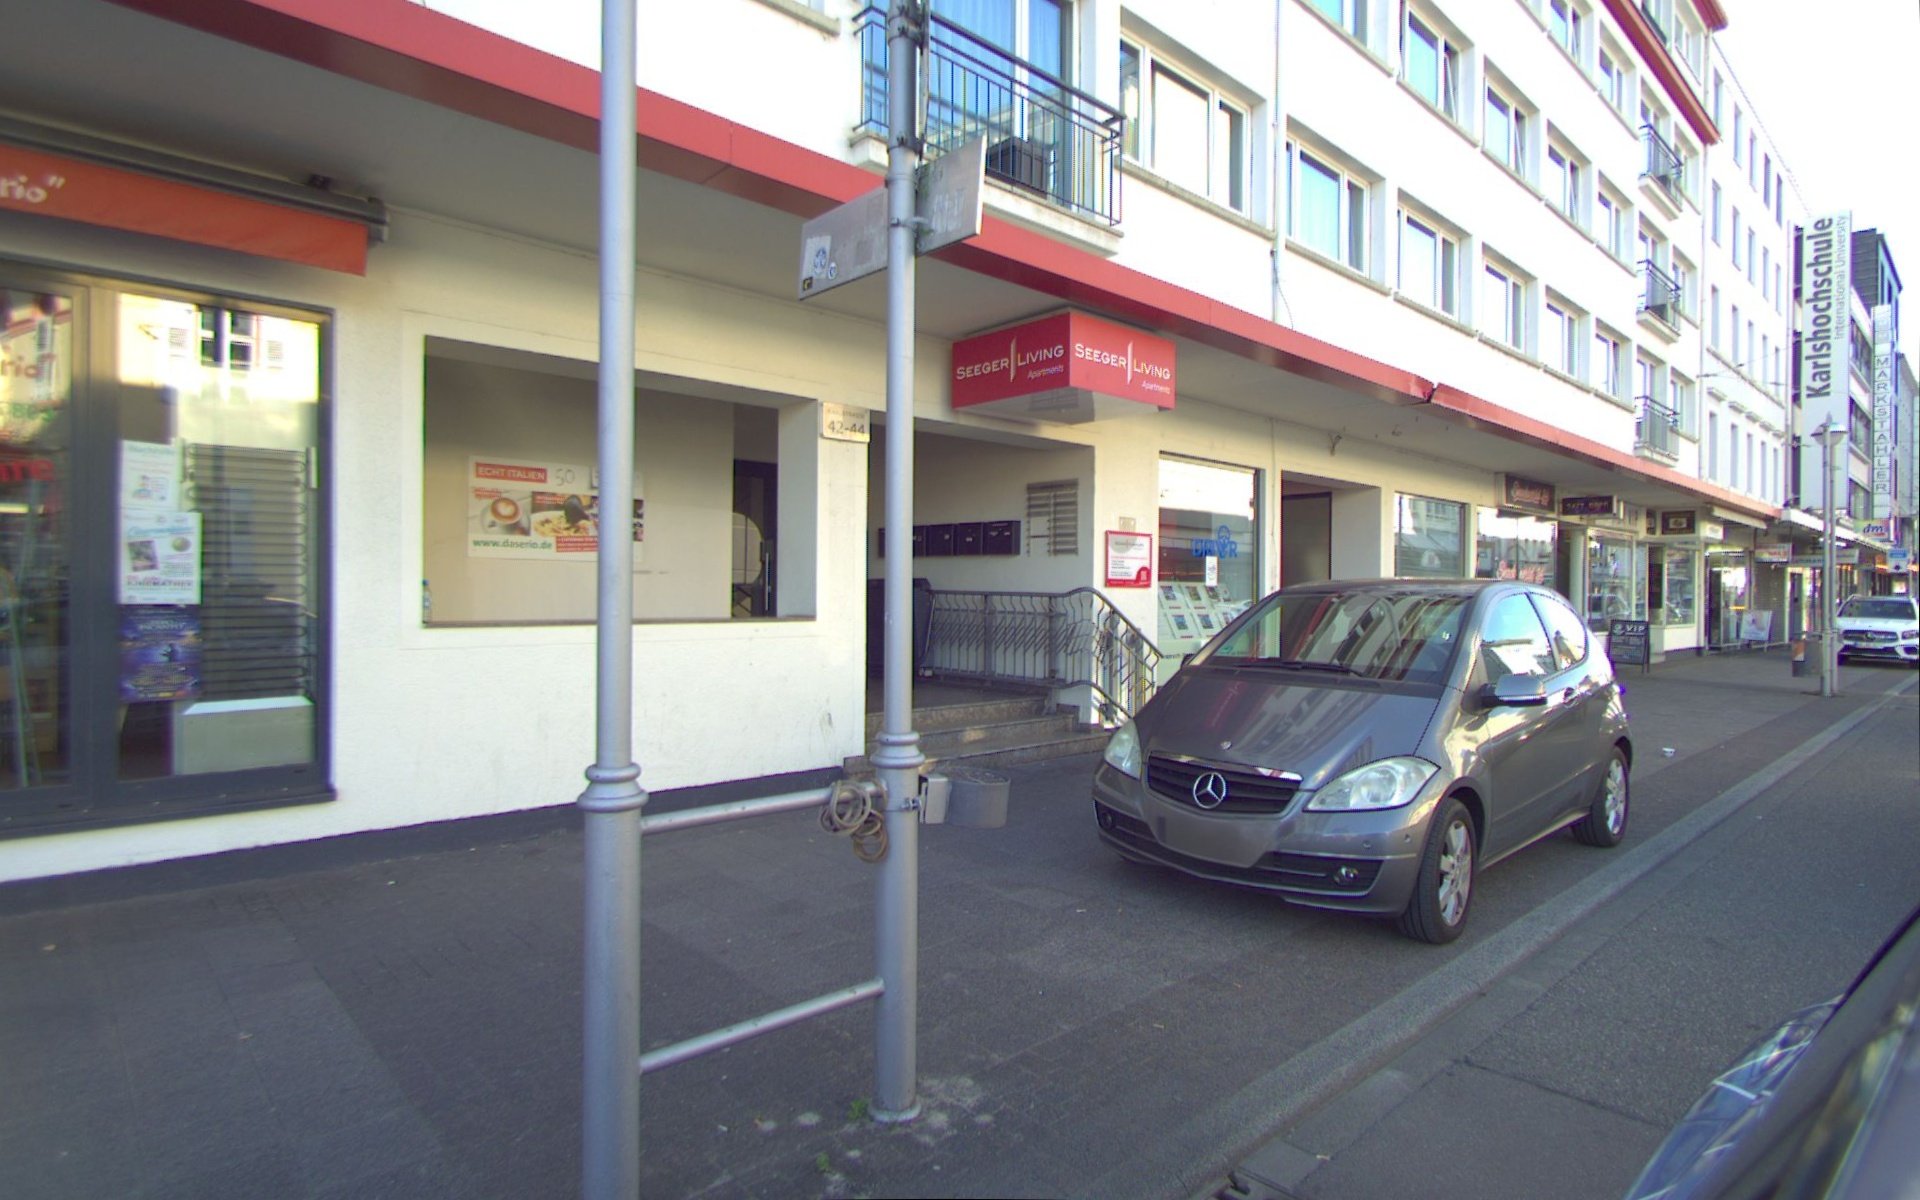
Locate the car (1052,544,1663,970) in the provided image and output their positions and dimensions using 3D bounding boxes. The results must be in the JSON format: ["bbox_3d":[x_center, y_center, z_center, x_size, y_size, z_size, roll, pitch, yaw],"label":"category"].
[{"bbox_3d":[2.454,0.579,5.694,3.932,1.565,1.681,0,0,-43],"label":"car"}]

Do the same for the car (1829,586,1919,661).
[{"bbox_3d":[22.406,0.520,24.353,1.994,1.650,3.935,1,1,45],"label":"car"}]
